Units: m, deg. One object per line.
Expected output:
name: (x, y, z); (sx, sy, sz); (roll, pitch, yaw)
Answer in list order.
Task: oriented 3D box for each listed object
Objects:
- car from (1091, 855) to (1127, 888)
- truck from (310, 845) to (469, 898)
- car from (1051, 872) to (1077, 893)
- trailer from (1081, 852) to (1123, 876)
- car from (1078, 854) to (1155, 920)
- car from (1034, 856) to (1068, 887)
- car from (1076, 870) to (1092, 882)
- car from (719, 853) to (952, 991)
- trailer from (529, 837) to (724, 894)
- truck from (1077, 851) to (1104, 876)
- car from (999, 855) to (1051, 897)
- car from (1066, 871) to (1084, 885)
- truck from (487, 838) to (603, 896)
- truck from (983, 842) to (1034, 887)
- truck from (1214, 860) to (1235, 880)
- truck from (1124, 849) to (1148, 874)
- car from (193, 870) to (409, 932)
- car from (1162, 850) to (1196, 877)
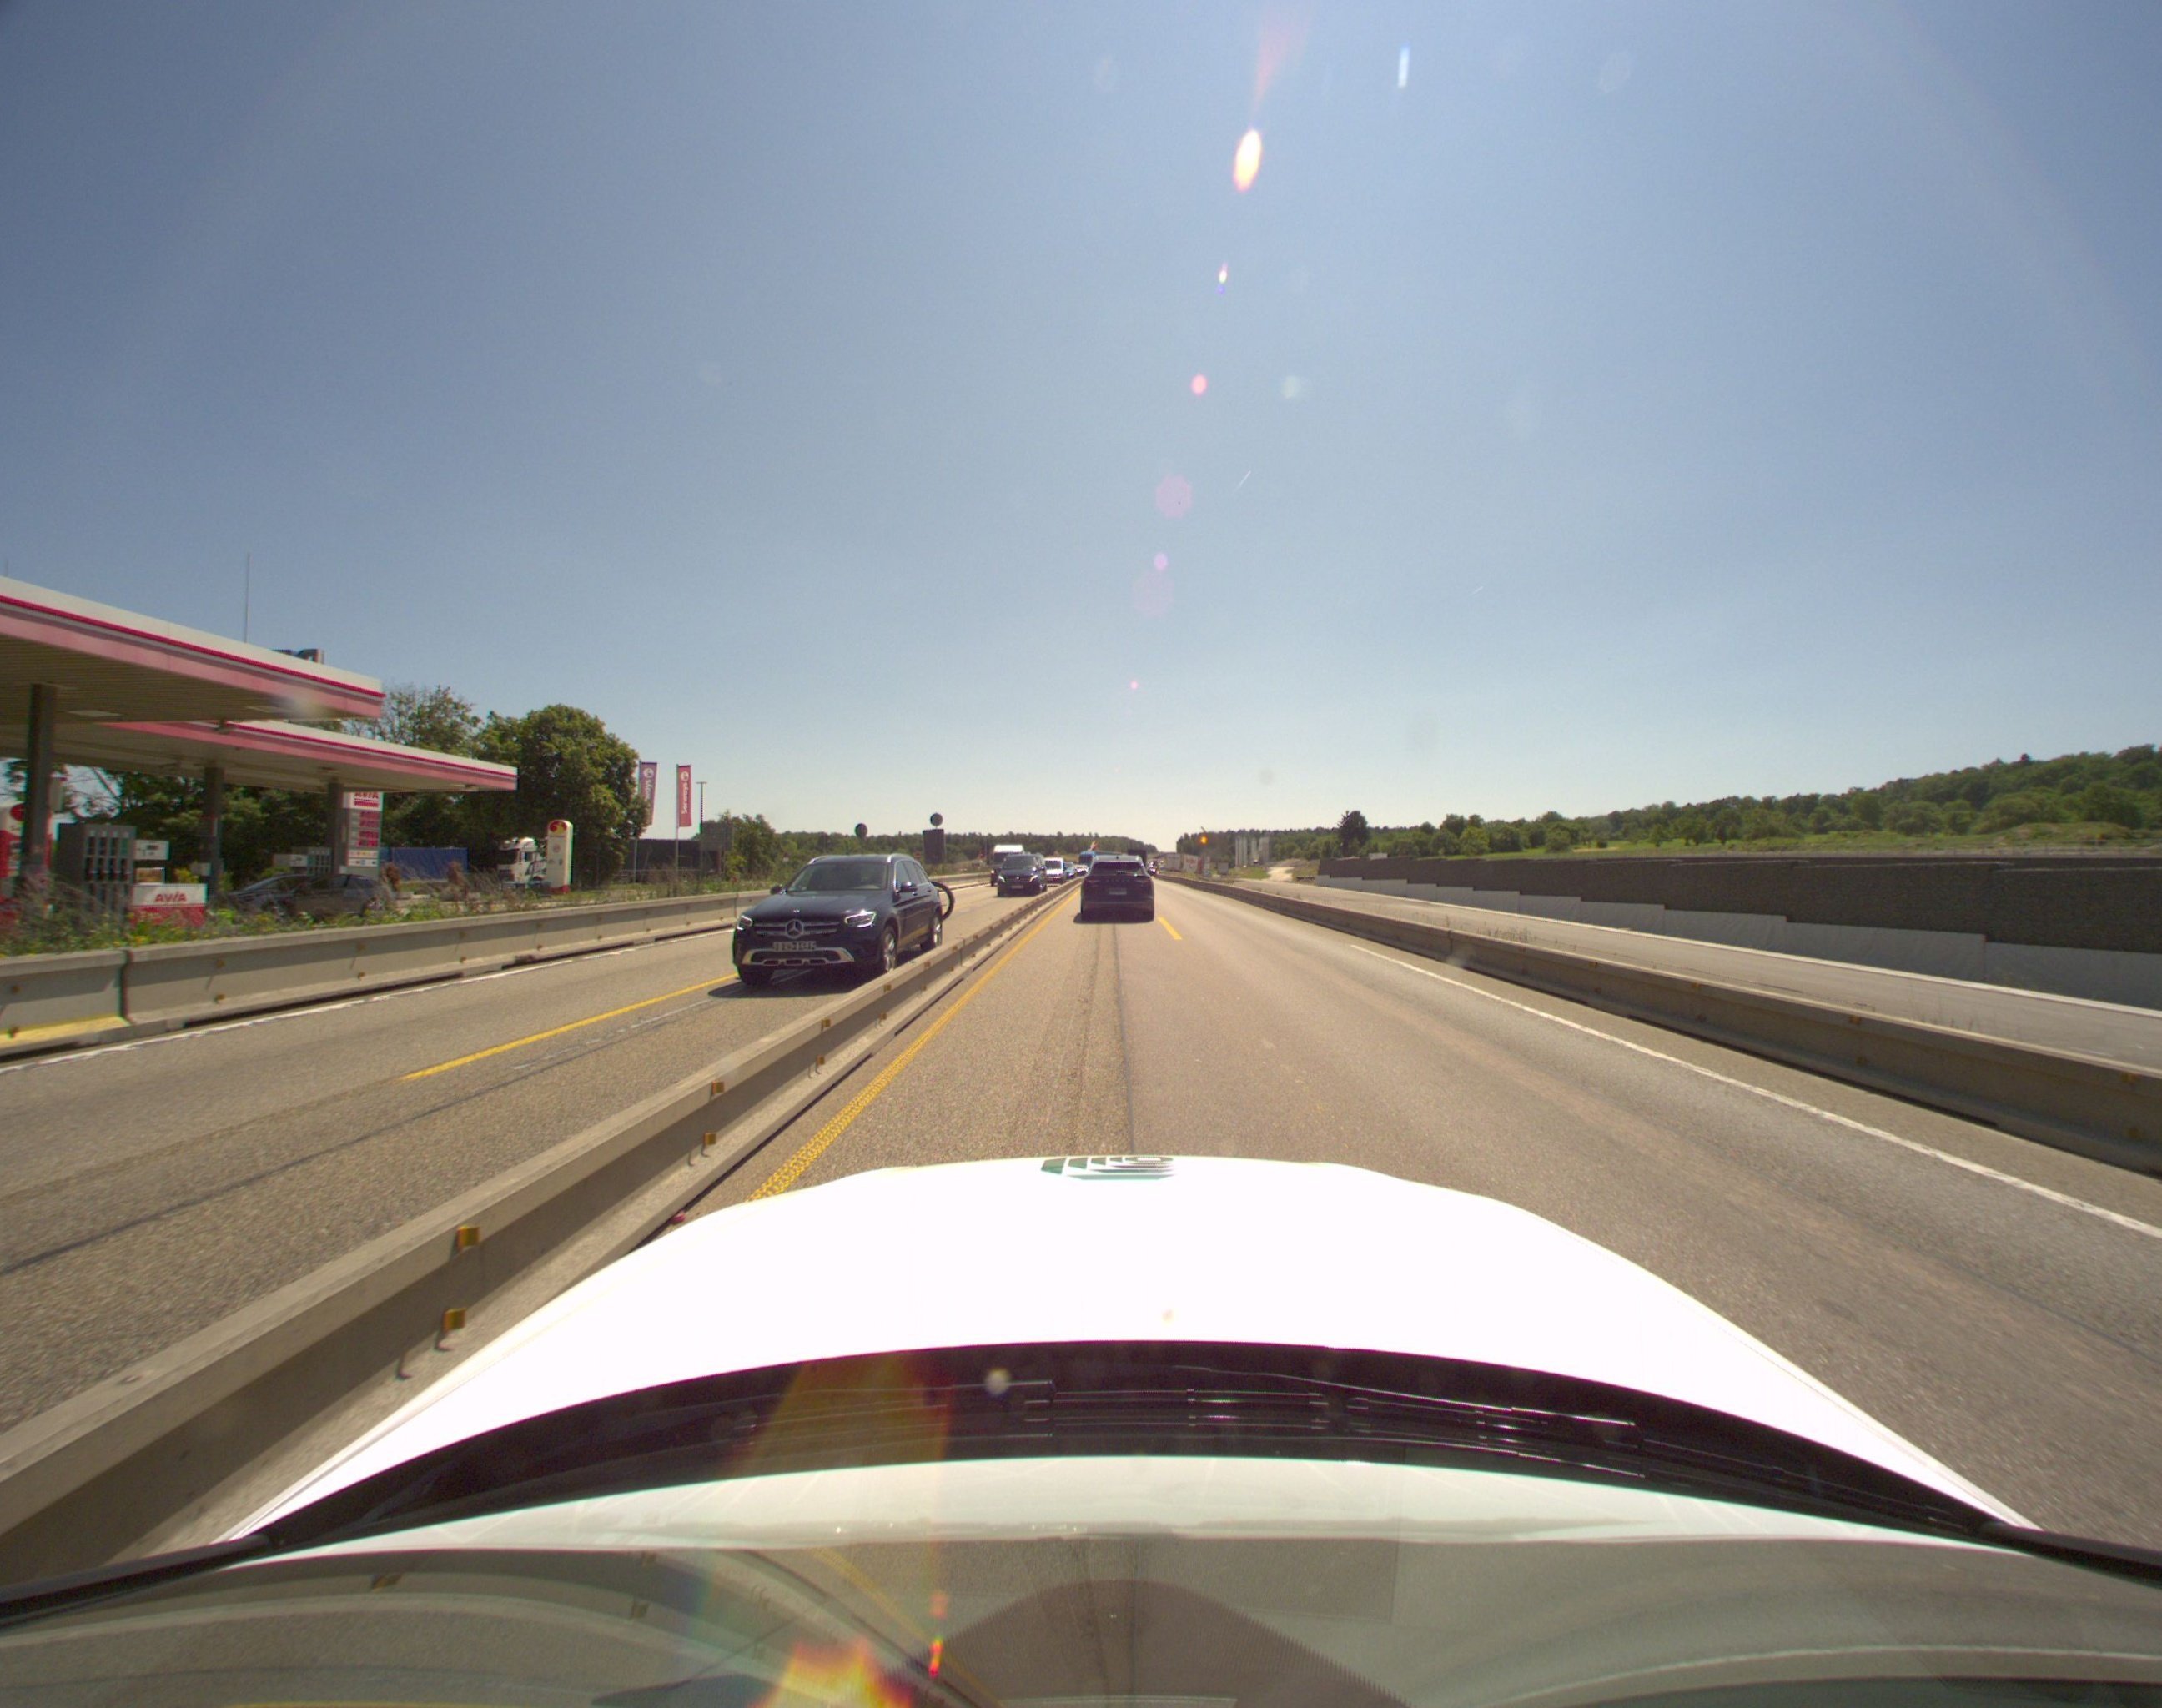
car: (1.635, 1.036, 48.525); (1.987, 1.844, 4.000); (1, -1, 1)
truck: (-43.476, 1.089, 51.512); (2.794, 3.064, 7.161); (-1, -1, 24)
car: (-1.367, 2.357, 67.874); (1.897, 1.608, 4.002); (0, 0, 2)
trailer: (3.824, 1.778, 143.977); (2.889, 4.129, 13.986); (-1, -1, 21)
car: (0.935, 0.838, 21.333); (1.835, 1.582, 4.002); (0, -2, 3)
car: (-1.868, 1.087, 51.486); (1.846, 1.839, 4.592); (0, 0, 1)
car: (0.466, 2.978, 108.629); (2.009, 1.444, 4.589); (0, 0, 1)
car: (-3.249, 0.795, 11.908); (1.849, 1.603, 4.737); (0, 0, 1)
trailer: (-35.961, 0.896, 65.634); (3.120, 4.111, 14.249); (-1, -1, 29)
truck: (1.621, 1.692, 137.790); (2.891, 4.129, 6.165); (-1, -1, 17)
car: (-2.484, 0.949, 37.482); (1.900, 1.804, 5.083); (0, 0, 1)
car: (-0.688, 2.808, 95.346); (1.810, 1.376, 4.248); (-3, -1, 1)
truck: (-39.159, 0.930, 59.739); (3.120, 3.985, 6.385); (-1, -1, 29)
truck: (-4.784, 0.704, 55.094); (2.470, 2.824, 8.132); (0, -1, 2)
truck: (34.424, 3.938, 195.382); (3.450, 4.220, 10.419); (5, 0, 16)
truck: (6.744, 0.902, 99.284); (2.659, 2.945, 5.630); (0, 0, 6)
car: (-22.241, 1.274, 23.514); (1.744, 1.411, 4.319); (6, 0, 3)
car: (16.830, 1.622, 138.908); (3.408, 4.101, 9.241); (4, -1, 20)
